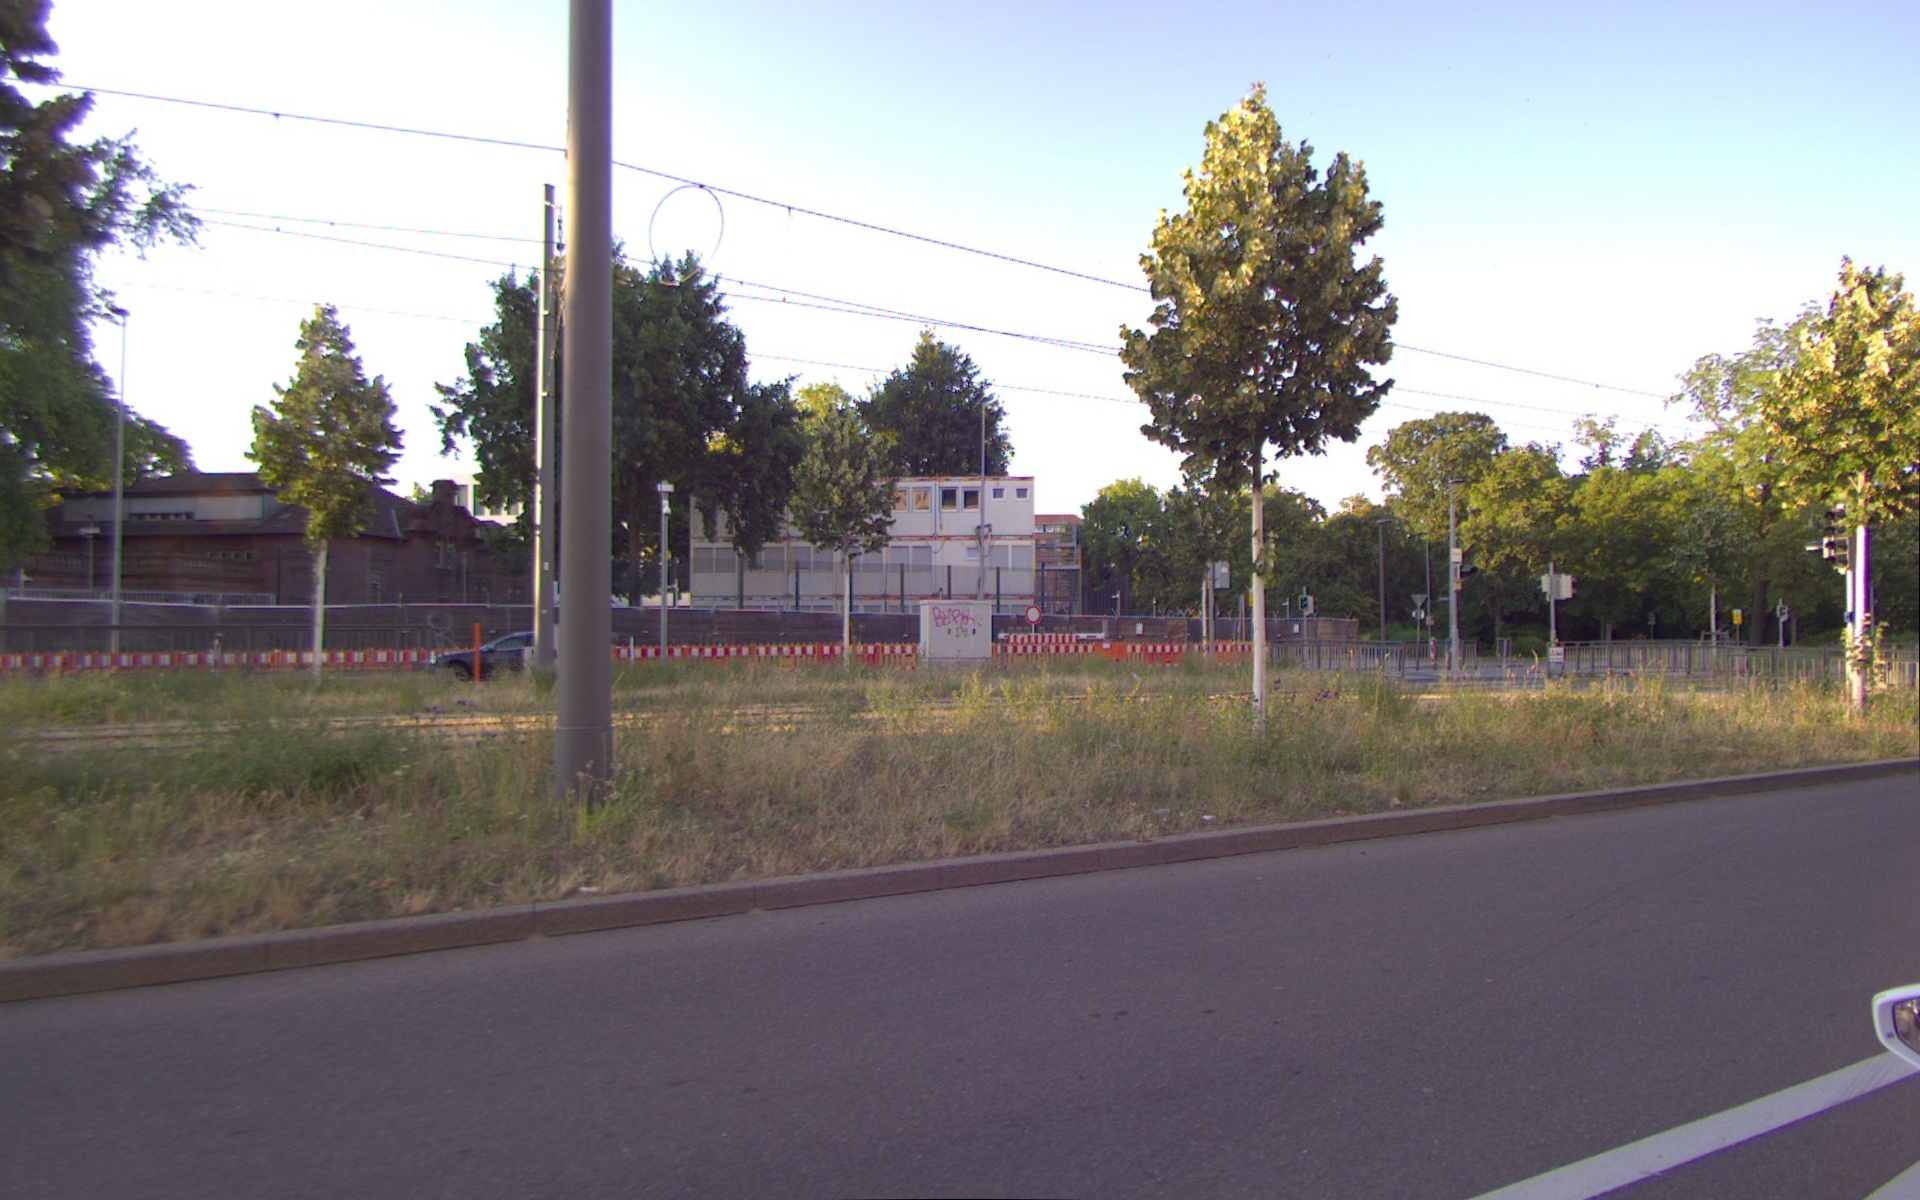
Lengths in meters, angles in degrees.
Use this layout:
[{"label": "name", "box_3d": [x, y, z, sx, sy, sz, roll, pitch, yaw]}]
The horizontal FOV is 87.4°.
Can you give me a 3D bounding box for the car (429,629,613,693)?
[{"label": "car", "box_3d": [-11.997, 1.613, 27.548, 4.464, 1.501, 1.925, -1, 0, -28]}]
